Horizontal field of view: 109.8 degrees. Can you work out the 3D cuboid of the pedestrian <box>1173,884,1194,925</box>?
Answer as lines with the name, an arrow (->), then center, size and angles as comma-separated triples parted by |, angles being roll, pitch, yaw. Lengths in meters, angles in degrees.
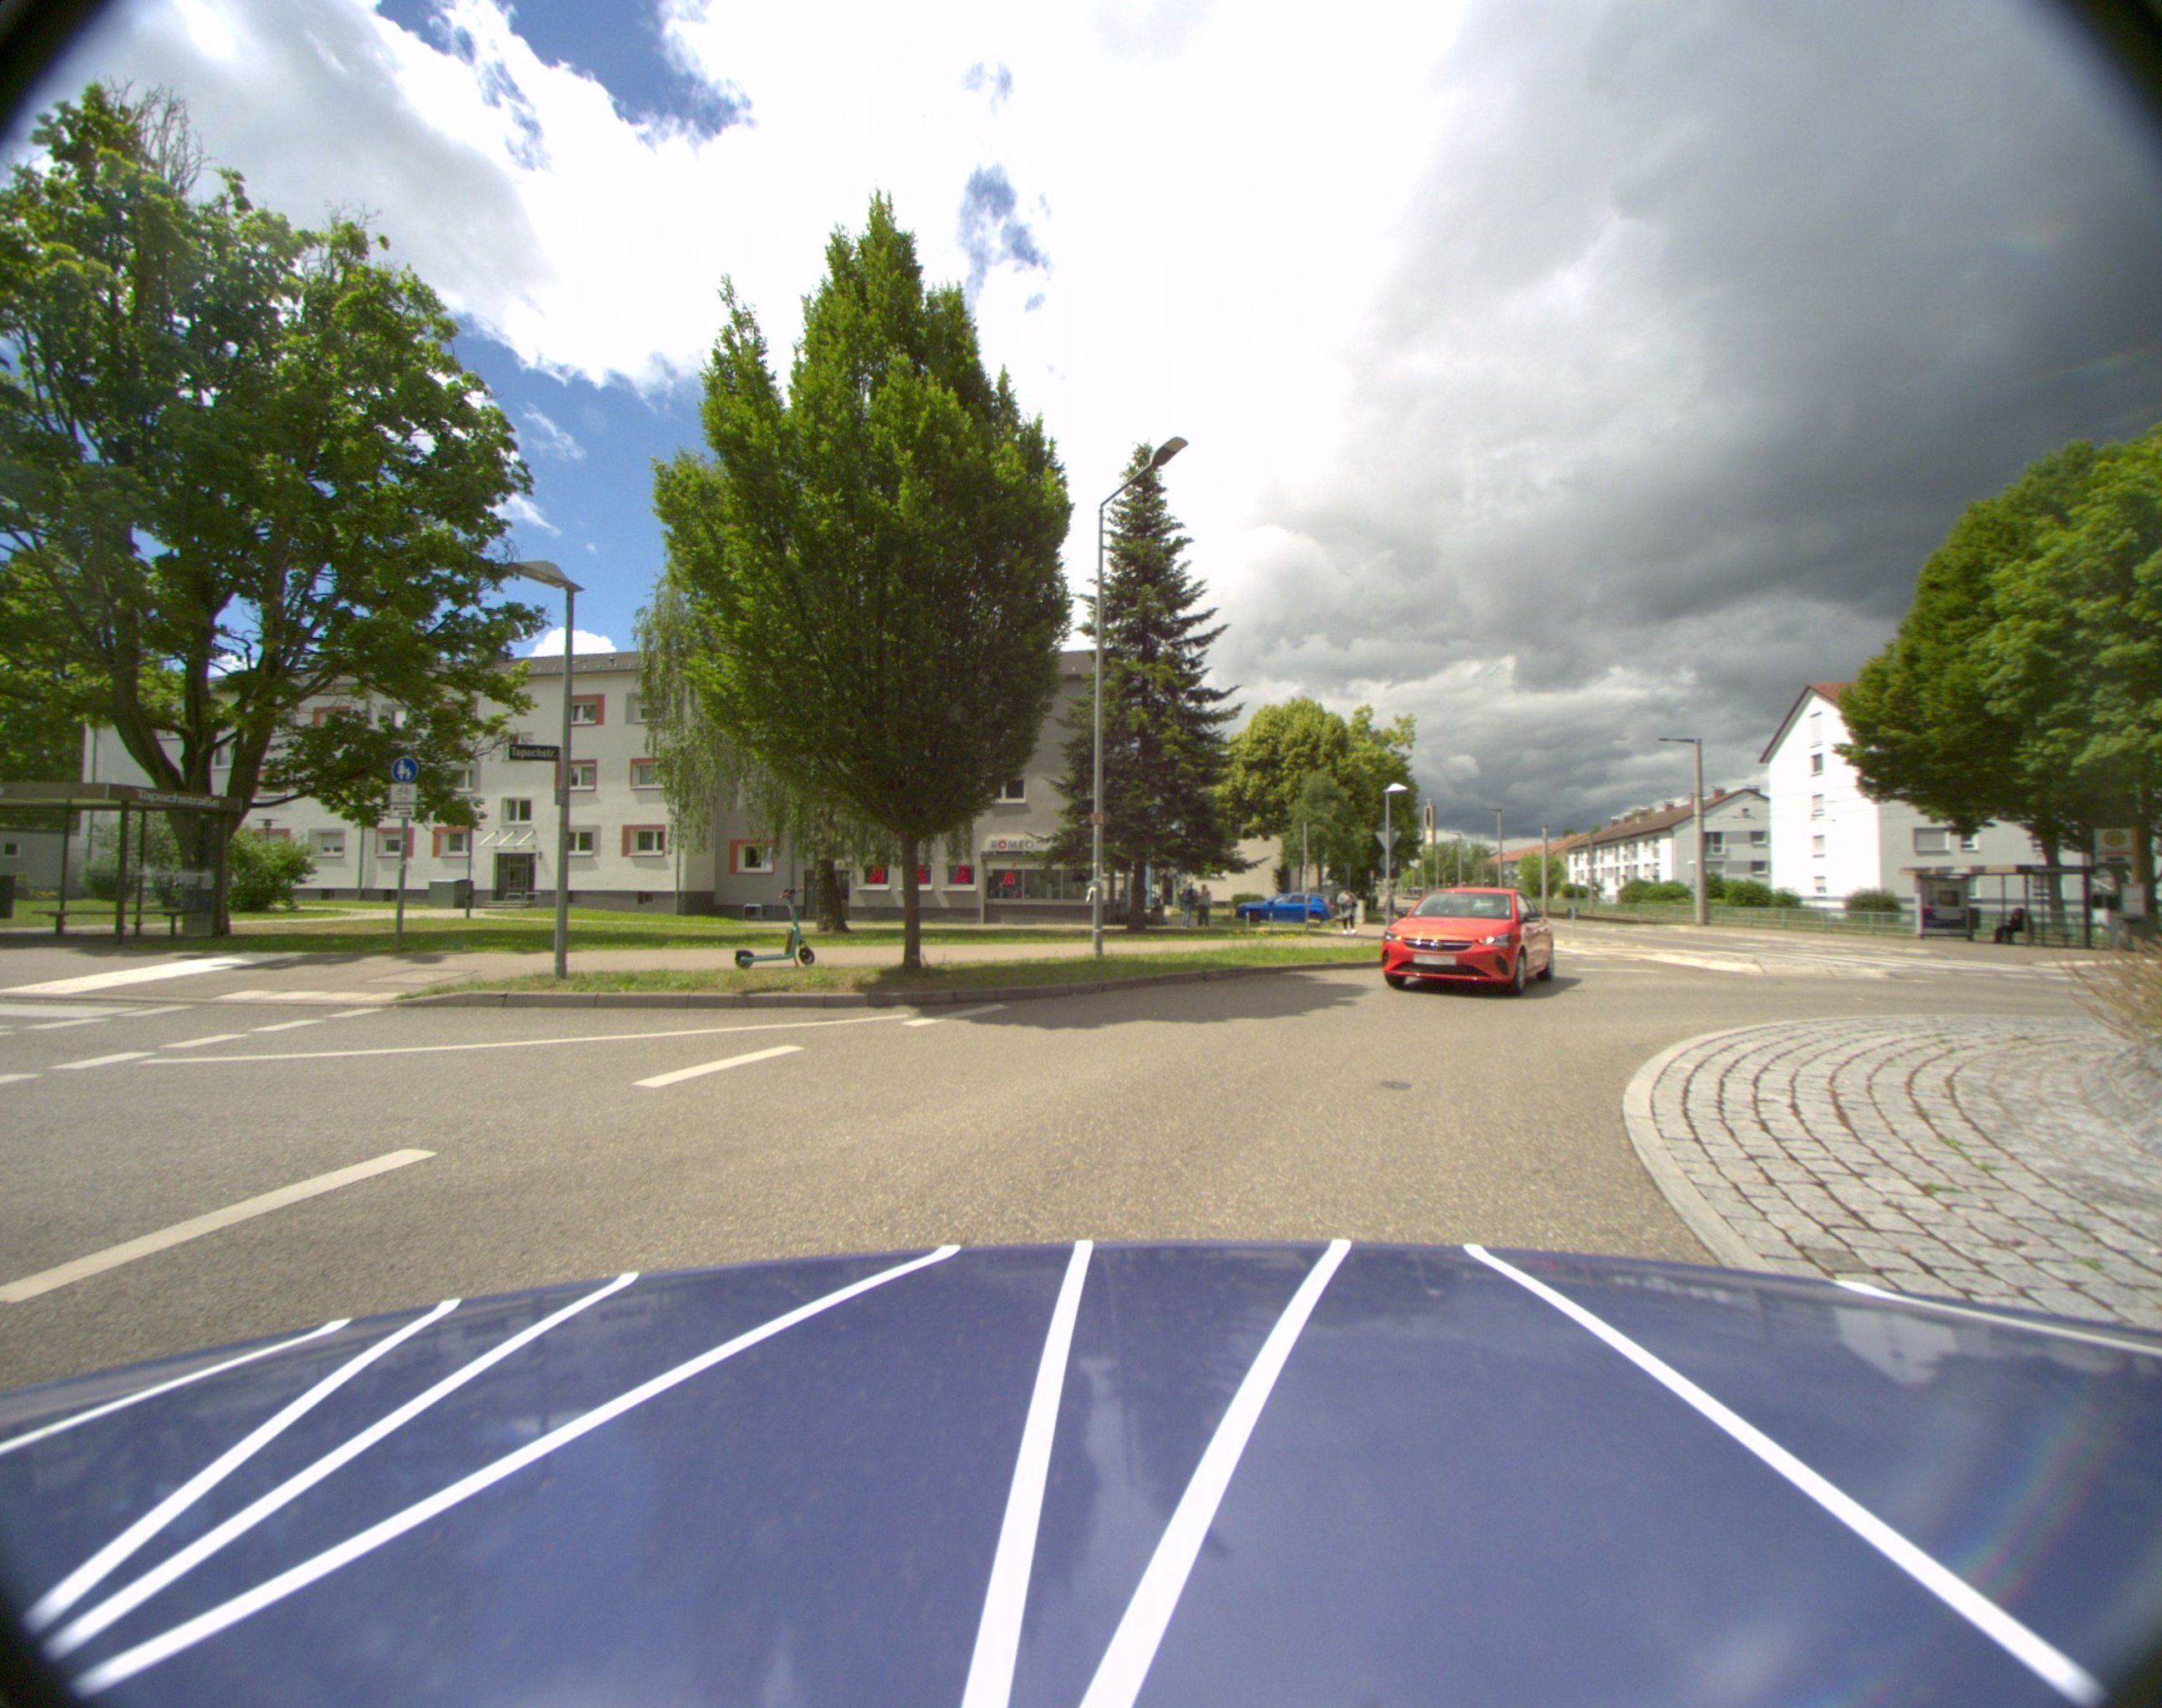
pedestrian -> 3.925, 1.915, 29.082 | 0.743, 1.520, 0.692 | 1, -2, 12

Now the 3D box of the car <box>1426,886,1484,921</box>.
car -> 18.438, 2.416, 37.594 | 1.996, 1.597, 4.007 | 0, -2, 18

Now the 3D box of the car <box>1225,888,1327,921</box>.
car -> 9.125, 2.368, 35.840 | 4.489, 1.236, 2.002 | 3, -2, 10

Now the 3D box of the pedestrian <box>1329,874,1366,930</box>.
pedestrian -> 9.455, 1.701, 26.984 | 0.942, 1.944, 0.842 | 1, -2, -11

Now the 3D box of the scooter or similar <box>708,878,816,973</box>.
scooter or similar -> -4.763, 1.055, 11.361 | 1.391, 1.335, 0.485 | 3, -2, -29

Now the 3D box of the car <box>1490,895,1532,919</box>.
car -> 28.672, 3.509, 50.762 | 1.855, 1.446, 4.396 | -2, -3, 22

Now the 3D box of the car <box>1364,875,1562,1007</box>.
car -> 5.764, 1.129, 11.202 | 1.762, 1.548, 4.010 | 0, -2, 39

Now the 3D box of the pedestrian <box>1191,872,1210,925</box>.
pedestrian -> 4.651, 1.733, 29.596 | 0.655, 2.001, 1.048 | 1, -2, 11

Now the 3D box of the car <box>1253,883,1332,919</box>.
car -> 10.724, 2.373, 38.831 | 3.734, 1.547, 2.035 | 2, -2, 12

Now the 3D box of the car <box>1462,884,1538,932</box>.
car -> 13.631, 1.714, 24.937 | 1.760, 1.389, 4.008 | 0, -2, 23

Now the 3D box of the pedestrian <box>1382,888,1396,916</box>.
pedestrian -> 18.642, 2.900, 45.954 | 0.683, 1.650, 0.833 | 1, -1, 14

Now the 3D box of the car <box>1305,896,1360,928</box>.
car -> 12.179, 2.748, 36.641 | 1.915, 1.309, 4.009 | 0, -2, 27

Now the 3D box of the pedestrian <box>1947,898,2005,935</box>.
pedestrian -> 28.603, 1.987, 24.289 | 0.799, 1.128, 0.913 | -1, -2, 16
